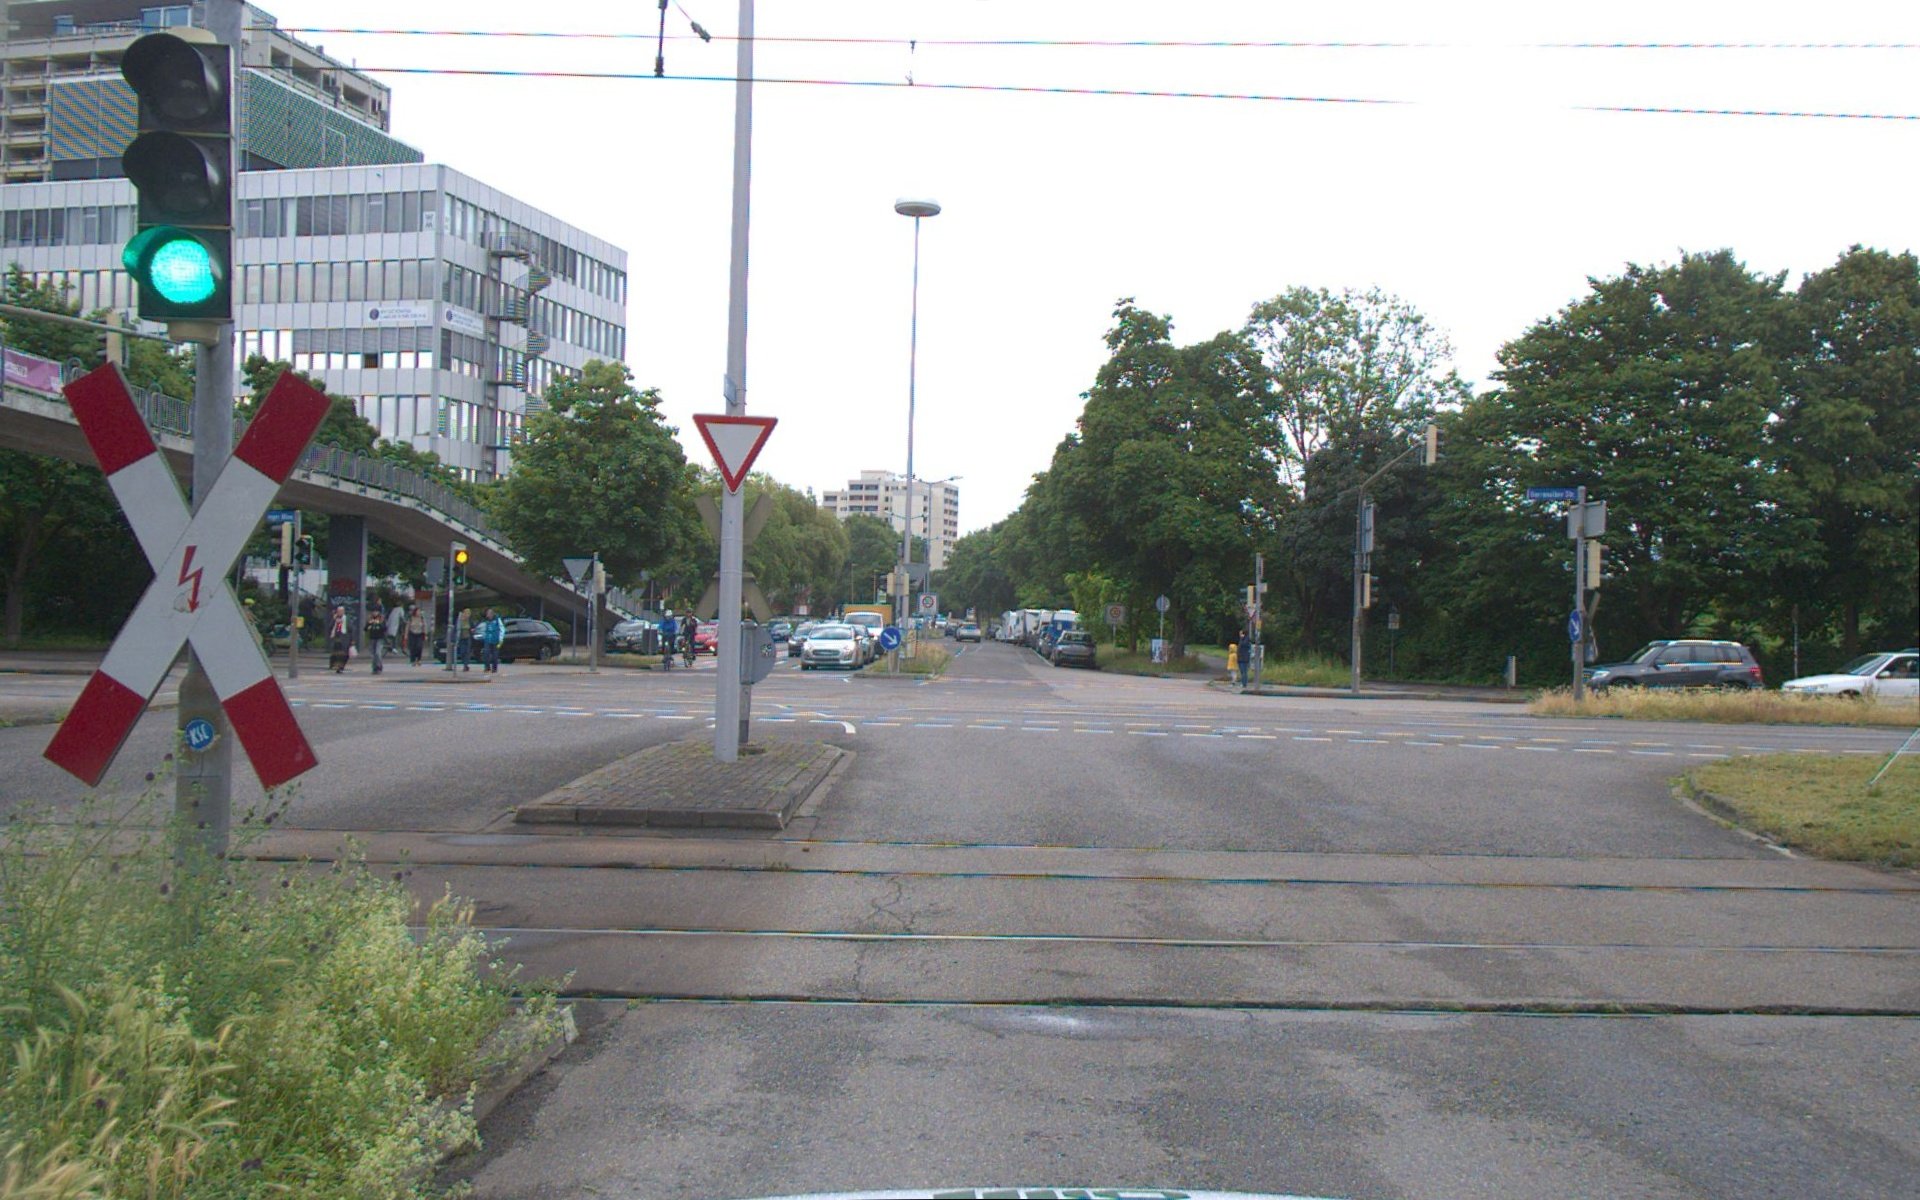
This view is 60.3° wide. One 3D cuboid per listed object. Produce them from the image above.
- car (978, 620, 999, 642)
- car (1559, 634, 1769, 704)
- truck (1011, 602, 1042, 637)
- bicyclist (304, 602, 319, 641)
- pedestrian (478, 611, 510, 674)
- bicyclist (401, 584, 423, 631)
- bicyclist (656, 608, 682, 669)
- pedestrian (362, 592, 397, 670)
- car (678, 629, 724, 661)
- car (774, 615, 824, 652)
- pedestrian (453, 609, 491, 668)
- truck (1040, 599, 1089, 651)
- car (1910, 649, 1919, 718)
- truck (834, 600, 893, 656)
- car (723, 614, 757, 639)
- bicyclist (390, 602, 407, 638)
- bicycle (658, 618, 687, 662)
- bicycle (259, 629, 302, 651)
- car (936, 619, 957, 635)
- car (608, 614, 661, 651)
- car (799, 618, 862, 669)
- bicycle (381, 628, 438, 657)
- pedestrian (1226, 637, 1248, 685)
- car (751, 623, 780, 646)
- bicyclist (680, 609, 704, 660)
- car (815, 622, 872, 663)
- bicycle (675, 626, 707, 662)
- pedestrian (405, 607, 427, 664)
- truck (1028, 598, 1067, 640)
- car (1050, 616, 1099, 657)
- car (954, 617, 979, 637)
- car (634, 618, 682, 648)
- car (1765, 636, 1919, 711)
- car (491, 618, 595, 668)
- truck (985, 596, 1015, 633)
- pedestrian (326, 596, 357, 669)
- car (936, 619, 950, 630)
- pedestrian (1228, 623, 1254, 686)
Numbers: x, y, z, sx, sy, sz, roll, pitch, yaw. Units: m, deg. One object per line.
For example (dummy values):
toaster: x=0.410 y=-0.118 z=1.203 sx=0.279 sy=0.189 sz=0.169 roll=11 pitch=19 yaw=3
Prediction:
car: x=2.670 y=2.886 z=156.265 sx=1.619 sy=1.952 sz=3.915 roll=1 pitch=0 yaw=-5
car: x=17.233 y=1.674 z=40.617 sx=4.373 sy=1.530 sz=1.846 roll=1 pitch=-1 yaw=0
truck: x=5.221 y=1.566 z=130.775 sx=1.954 sy=2.618 sz=5.374 roll=1 pitch=-1 yaw=-3
bicyclist: x=-22.332 y=0.749 z=56.962 sx=0.380 sy=1.326 sz=0.275 roll=2 pitch=-1 yaw=-38
pedestrian: x=-12.166 y=1.101 z=43.209 sx=0.673 sy=1.633 sz=0.487 roll=1 pitch=-1 yaw=-6
bicyclist: x=-19.698 y=0.275 z=59.453 sx=0.553 sy=1.673 sz=0.531 roll=1 pitch=-1 yaw=-1
bicyclist: x=-8.695 y=1.156 z=49.434 sx=0.631 sy=1.799 sz=0.646 roll=1 pitch=-1 yaw=-1
pedestrian: x=-13.979 y=0.735 z=39.817 sx=0.625 sy=1.835 sz=0.800 roll=1 pitch=-1 yaw=-10
car: x=-11.918 y=2.063 z=76.297 sx=1.481 sy=1.415 sz=3.533 roll=1 pitch=-1 yaw=1
car: x=-6.892 y=1.409 z=71.104 sx=1.734 sy=1.503 sz=4.389 roll=1 pitch=-1 yaw=-1
pedestrian: x=-12.799 y=1.003 z=43.381 sx=0.901 sy=1.537 sz=0.402 roll=1 pitch=-1 yaw=-12
truck: x=5.583 y=1.368 z=89.360 sx=2.130 sy=2.703 sz=6.244 roll=1 pitch=-1 yaw=-1
car: x=25.244 y=2.062 z=39.615 sx=3.907 sy=1.646 sz=1.878 roll=1 pitch=-1 yaw=-2
truck: x=-4.059 y=1.171 z=70.248 sx=2.111 sy=2.237 sz=5.839 roll=1 pitch=0 yaw=0
car: x=-14.227 y=1.703 z=106.999 sx=1.637 sy=1.579 sz=3.999 roll=1 pitch=-1 yaw=0
bicyclist: x=-18.749 y=0.671 z=55.248 sx=0.396 sy=1.202 sz=0.377 roll=1 pitch=0 yaw=1
bicycle: x=-8.674 y=1.196 z=49.952 sx=0.532 sy=1.289 sz=2.110 roll=1 pitch=-1 yaw=-1
bicycle: x=-22.644 y=1.347 z=55.131 sx=1.284 sy=0.704 sz=0.286 roll=2 pitch=-1 yaw=-38
car: x=-1.352 y=2.675 z=165.953 sx=1.979 sy=1.532 sz=3.999 roll=1 pitch=0 yaw=-1
car: x=-14.876 y=1.472 z=75.842 sx=1.637 sy=1.579 sz=3.891 roll=1 pitch=0 yaw=0
car: x=-4.117 y=1.373 z=53.205 sx=1.753 sy=1.545 sz=4.324 roll=1 pitch=-1 yaw=-1
bicycle: x=-18.551 y=1.422 z=55.769 sx=0.746 sy=0.965 sz=1.954 roll=1 pitch=-1 yaw=20
pedestrian: x=8.118 y=1.779 z=48.505 sx=0.516 sy=1.365 sz=0.524 roll=1 pitch=-1 yaw=-1
car: x=-14.243 y=2.533 z=121.488 sx=1.637 sy=1.579 sz=3.999 roll=1 pitch=0 yaw=0
bicyclist: x=-8.763 y=1.125 z=54.090 sx=0.665 sy=1.622 sz=0.695 roll=1 pitch=-1 yaw=-1
car: x=-4.364 y=1.586 z=62.490 sx=1.858 sy=1.445 sz=4.735 roll=1 pitch=-1 yaw=-1
bicycle: x=-8.789 y=1.440 z=54.158 sx=0.712 sy=1.120 sz=2.263 roll=1 pitch=-1 yaw=-1
pedestrian: x=-15.401 y=1.002 z=46.821 sx=0.570 sy=1.607 sz=0.777 roll=1 pitch=-1 yaw=-19
truck: x=6.250 y=1.344 z=118.726 sx=1.954 sy=2.888 sz=5.725 roll=1 pitch=-1 yaw=-5
car: x=4.992 y=1.574 z=72.544 sx=1.748 sy=1.691 sz=3.999 roll=1 pitch=0 yaw=-1
car: x=0.566 y=2.269 z=139.262 sx=1.979 sy=1.532 sz=3.999 roll=1 pitch=0 yaw=-1
car: x=-14.825 y=1.599 z=81.337 sx=1.637 sy=1.411 sz=3.895 roll=1 pitch=0 yaw=0
car: x=18.541 y=1.480 z=33.105 sx=4.052 sy=1.381 sz=1.647 roll=1 pitch=-1 yaw=0
car: x=-13.813 y=1.405 z=54.977 sx=1.636 sy=1.579 sz=4.003 roll=1 pitch=-1 yaw=14
truck: x=3.386 y=1.254 z=141.535 sx=1.954 sy=3.062 sz=5.766 roll=1 pitch=-1 yaw=-4
pedestrian: x=-14.745 y=0.767 z=39.464 sx=0.608 sy=1.721 sz=0.403 roll=1 pitch=-1 yaw=-15
car: x=-2.452 y=3.584 z=240.395 sx=1.979 sy=1.532 sz=3.999 roll=1 pitch=0 yaw=-1
pedestrian: x=8.135 y=1.577 z=47.865 sx=0.643 sy=1.780 sz=0.459 roll=1 pitch=-1 yaw=-2
